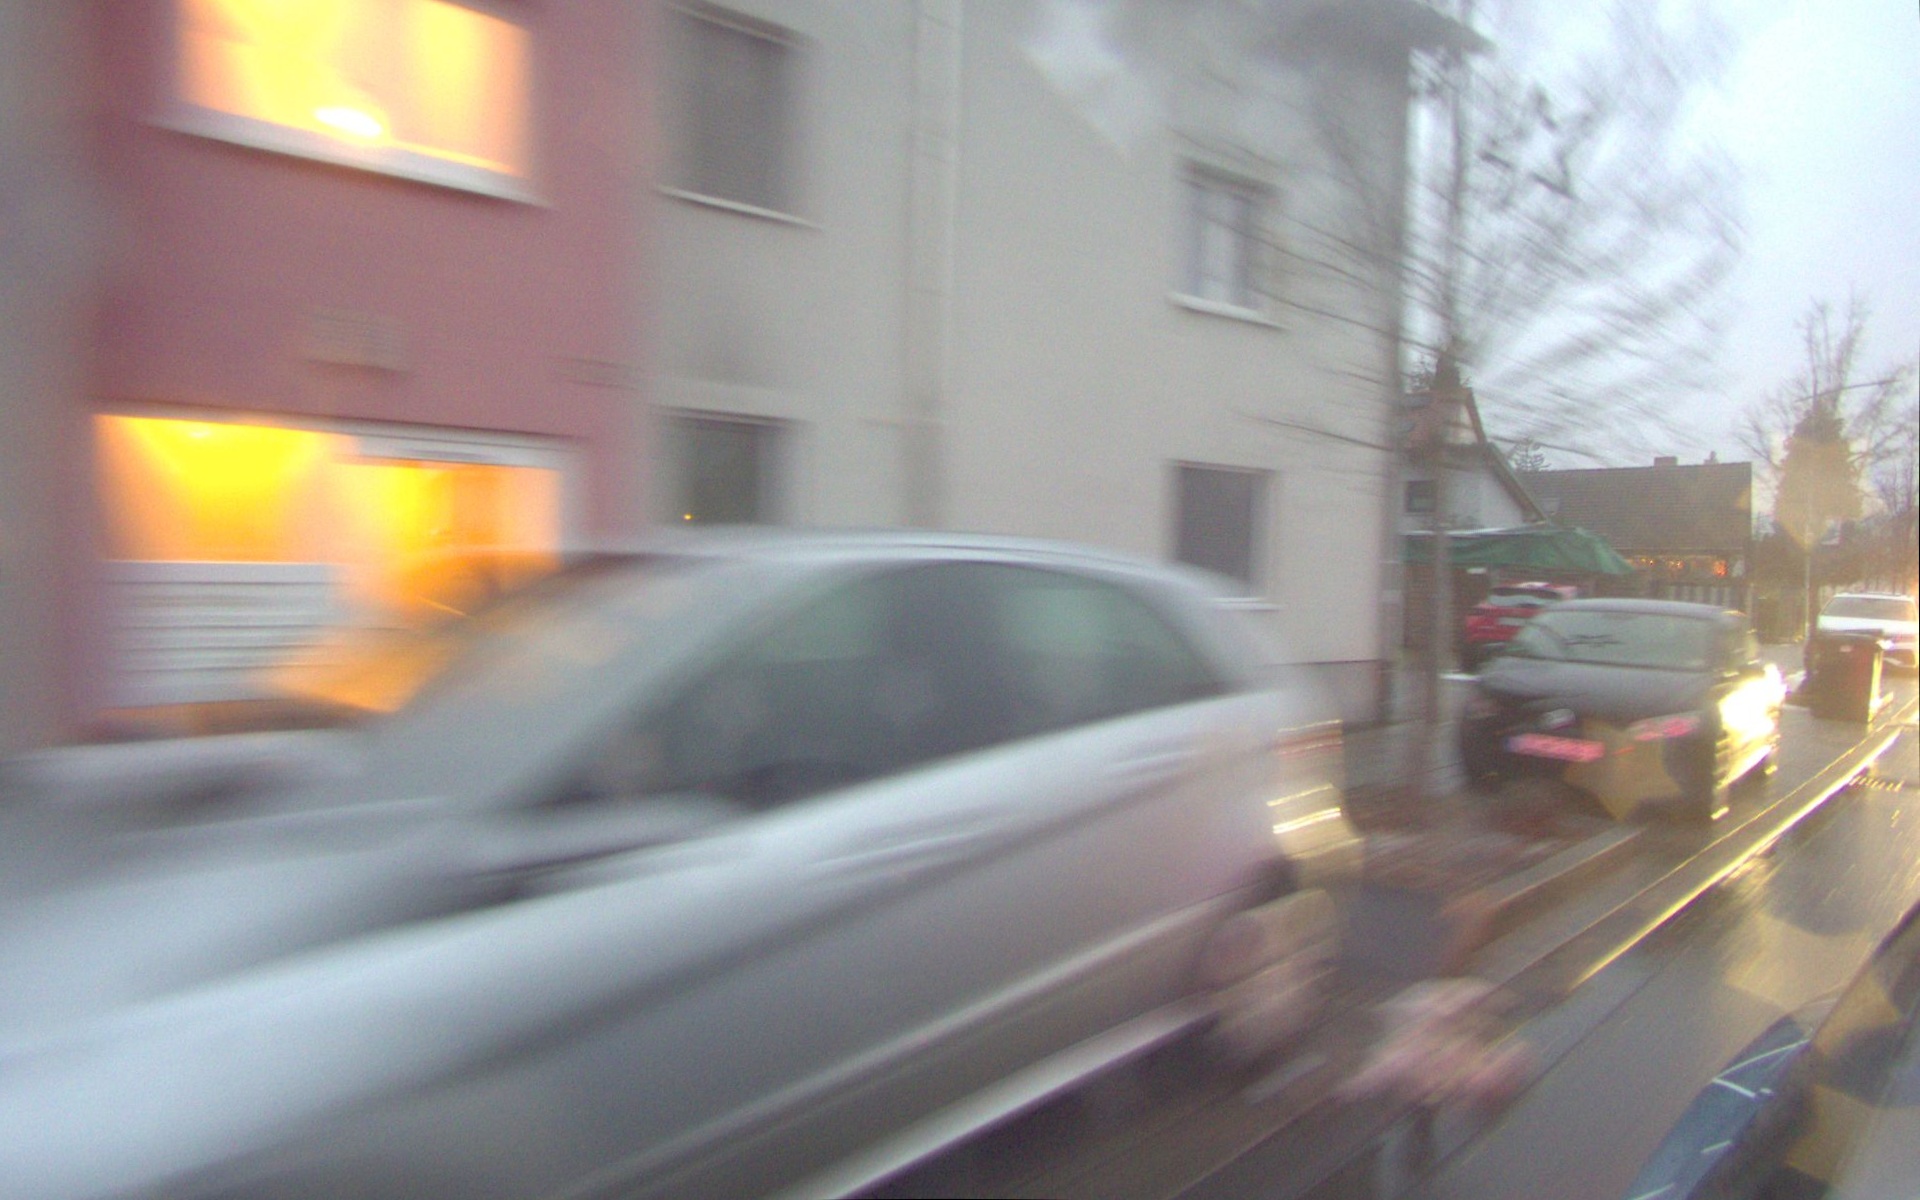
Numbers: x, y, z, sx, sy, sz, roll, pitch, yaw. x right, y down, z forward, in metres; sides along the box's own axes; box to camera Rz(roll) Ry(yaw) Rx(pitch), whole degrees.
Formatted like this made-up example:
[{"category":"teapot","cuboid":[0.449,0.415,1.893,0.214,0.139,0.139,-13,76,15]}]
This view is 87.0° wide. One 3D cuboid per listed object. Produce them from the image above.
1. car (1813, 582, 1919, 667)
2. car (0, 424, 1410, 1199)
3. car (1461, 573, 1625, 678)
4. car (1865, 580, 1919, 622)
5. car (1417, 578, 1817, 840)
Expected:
[{"category":"car","cuboid":[19.539,0.458,21.356,4.232,1.583,1.810,0,3,-43]},{"category":"car","cuboid":[-0.688,0.564,2.590,4.419,1.595,1.667,0,2,-42]},{"category":"car","cuboid":[10.321,0.355,17.766,1.805,1.571,4.244,3,2,39]},{"category":"car","cuboid":[43.287,0.022,46.833,1.909,1.812,4.500,3,2,40]},{"category":"car","cuboid":[5.318,0.625,7.951,4.122,1.469,1.705,0,3,-44]}]
